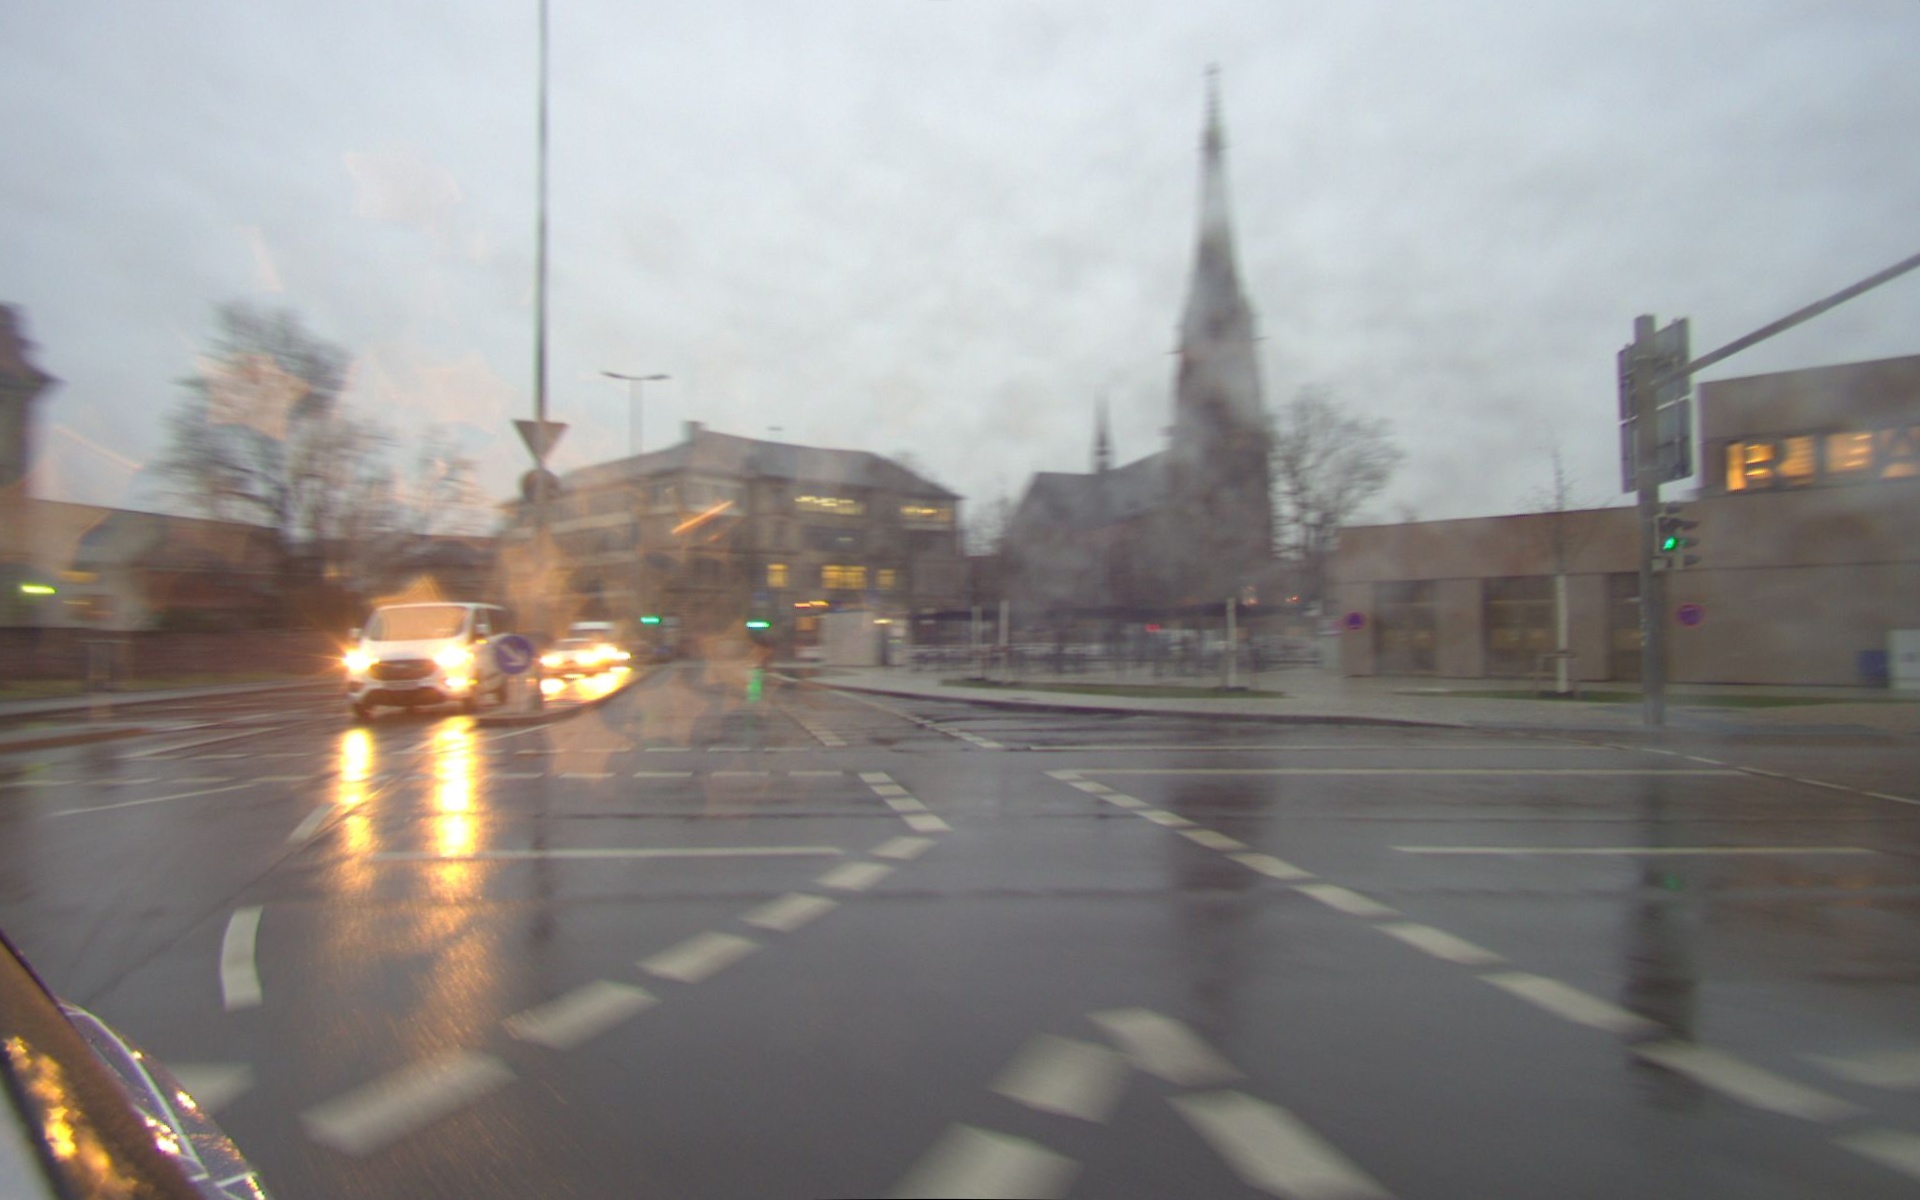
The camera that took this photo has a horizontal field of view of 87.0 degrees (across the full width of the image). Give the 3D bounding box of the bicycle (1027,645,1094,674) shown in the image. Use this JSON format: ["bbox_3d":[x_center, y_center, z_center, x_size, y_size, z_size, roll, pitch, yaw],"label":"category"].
[{"bbox_3d":[4.119,2.457,41.730,2.744,1.113,0.639,-4,-3,35],"label":"bicycle"}]

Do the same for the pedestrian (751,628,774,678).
[{"bbox_3d":[-7.091,1.913,36.327,0.705,1.747,0.985,2,-3,-15],"label":"pedestrian"}]

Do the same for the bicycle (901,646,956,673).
[{"bbox_3d":[-1.410,2.637,44.663,2.751,1.113,0.638,-5,-3,44],"label":"bicycle"}]

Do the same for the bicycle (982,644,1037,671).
[{"bbox_3d":[2.244,2.637,46.382,2.751,1.113,0.638,-5,-3,44],"label":"bicycle"}]

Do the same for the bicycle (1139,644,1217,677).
[{"bbox_3d":[7.940,2.206,36.918,2.746,1.113,0.600,-3,-2,37],"label":"bicycle"}]

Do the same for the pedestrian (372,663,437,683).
[{"bbox_3d":[-31.133,4.089,56.793,0.949,0.937,3.054,-5,-3,45],"label":"pedestrian"}]

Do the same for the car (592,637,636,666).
[{"bbox_3d":[-20.837,3.086,61.151,1.809,1.656,4.827,0,-2,-10],"label":"car"}]

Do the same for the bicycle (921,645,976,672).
[{"bbox_3d":[-0.543,2.620,45.458,2.751,1.113,0.638,-5,-3,44],"label":"bicycle"}]

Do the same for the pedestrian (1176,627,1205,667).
[{"bbox_3d":[10.114,2.057,44.395,0.802,1.693,0.851,-4,0,-15],"label":"pedestrian"}]

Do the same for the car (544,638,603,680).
[{"bbox_3d":[-15.589,2.347,40.994,1.726,1.515,4.329,-2,-2,-15],"label":"car"}]

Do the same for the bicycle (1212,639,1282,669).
[{"bbox_3d":[11.790,2.230,41.648,2.751,1.113,0.638,-5,-3,44],"label":"bicycle"}]

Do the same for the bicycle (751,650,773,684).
[{"bbox_3d":[-7.114,2.380,36.292,0.613,1.185,1.878,2,-3,-15],"label":"bicycle"}]

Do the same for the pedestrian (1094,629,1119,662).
[{"bbox_3d":[8.651,2.666,59.724,1.033,1.864,0.850,-5,-1,-15],"label":"pedestrian"}]

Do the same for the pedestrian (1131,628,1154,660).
[{"bbox_3d":[10.611,2.560,58.894,1.018,1.864,0.850,1,-3,-15],"label":"pedestrian"}]

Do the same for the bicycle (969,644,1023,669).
[{"bbox_3d":[1.691,2.712,48.494,2.749,1.113,0.638,-5,-3,41],"label":"bicycle"}]

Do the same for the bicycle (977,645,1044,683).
[{"bbox_3d":[1.953,2.507,39.465,2.751,1.113,0.637,-14,-9,43],"label":"bicycle"}]

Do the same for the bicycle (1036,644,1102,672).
[{"bbox_3d":[4.552,2.420,42.371,2.744,1.113,0.639,-3,-2,35],"label":"bicycle"}]

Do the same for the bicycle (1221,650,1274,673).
[{"bbox_3d":[10.925,2.338,38.512,1.863,0.878,0.598,-3,-4,40],"label":"bicycle"}]

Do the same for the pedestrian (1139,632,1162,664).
[{"bbox_3d":[10.903,2.757,58.014,1.018,1.864,0.805,1,-3,-15],"label":"pedestrian"}]

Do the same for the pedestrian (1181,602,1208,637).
[{"bbox_3d":[12.872,1.060,55.617,1.017,1.864,0.851,-2,-2,-19],"label":"pedestrian"}]

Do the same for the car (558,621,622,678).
[{"bbox_3d":[-18.232,2.450,50.128,2.309,2.537,5.883,-2,-2,-14],"label":"car"}]

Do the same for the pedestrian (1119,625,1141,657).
[{"bbox_3d":[10.030,2.406,59.686,1.018,1.864,0.850,1,-3,-15],"label":"pedestrian"}]

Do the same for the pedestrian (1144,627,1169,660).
[{"bbox_3d":[11.231,2.488,57.827,1.018,1.864,0.850,-2,-2,-15],"label":"pedestrian"}]

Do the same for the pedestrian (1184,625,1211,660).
[{"bbox_3d":[13.110,2.362,55.887,1.018,1.864,0.850,-2,-2,-15],"label":"pedestrian"}]

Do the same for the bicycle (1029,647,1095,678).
[{"bbox_3d":[3.984,2.458,39.794,2.751,1.113,0.637,-5,-3,44],"label":"bicycle"}]

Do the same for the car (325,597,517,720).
[{"bbox_3d":[-9.946,1.074,19.149,2.102,1.936,5.030,-2,-2,-15],"label":"car"}]

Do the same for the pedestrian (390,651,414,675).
[{"bbox_3d":[-31.271,3.525,56.734,0.968,1.327,0.815,3,-4,-45],"label":"pedestrian"}]

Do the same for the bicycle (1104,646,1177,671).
[{"bbox_3d":[7.922,2.571,44.477,3.191,1.058,0.784,-3,-3,40],"label":"bicycle"}]
